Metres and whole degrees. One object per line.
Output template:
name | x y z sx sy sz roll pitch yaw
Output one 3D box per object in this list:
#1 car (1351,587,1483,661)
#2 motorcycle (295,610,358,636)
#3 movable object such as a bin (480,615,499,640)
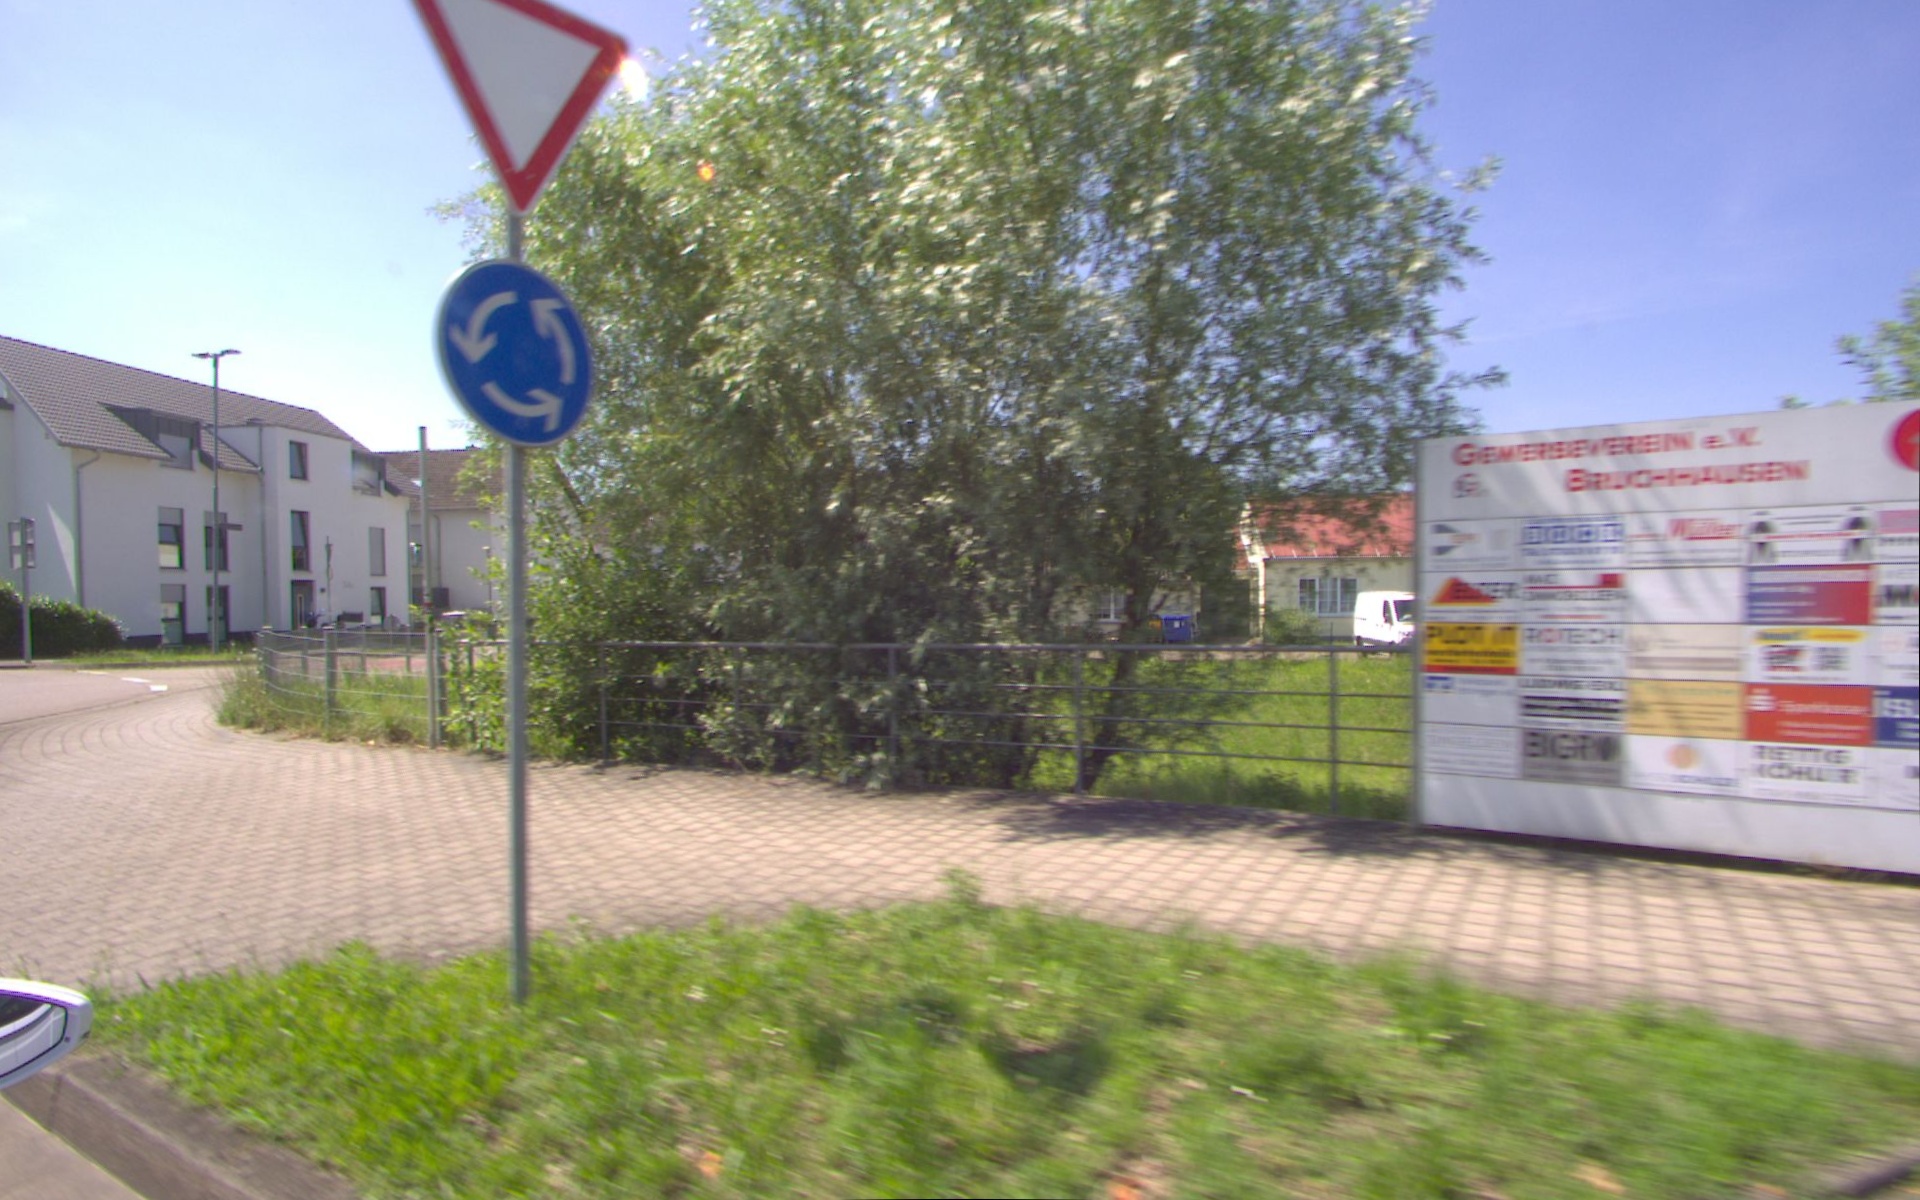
car | 14.937 0.798 33.120 2.172 2.229 5.186 0 -1 2
motorcycle | -25.713 0.940 40.663 2.324 1.026 0.671 0 -1 11
movable object such as a bin | -21.538 1.254 45.854 0.635 1.098 0.458 1 1 15
